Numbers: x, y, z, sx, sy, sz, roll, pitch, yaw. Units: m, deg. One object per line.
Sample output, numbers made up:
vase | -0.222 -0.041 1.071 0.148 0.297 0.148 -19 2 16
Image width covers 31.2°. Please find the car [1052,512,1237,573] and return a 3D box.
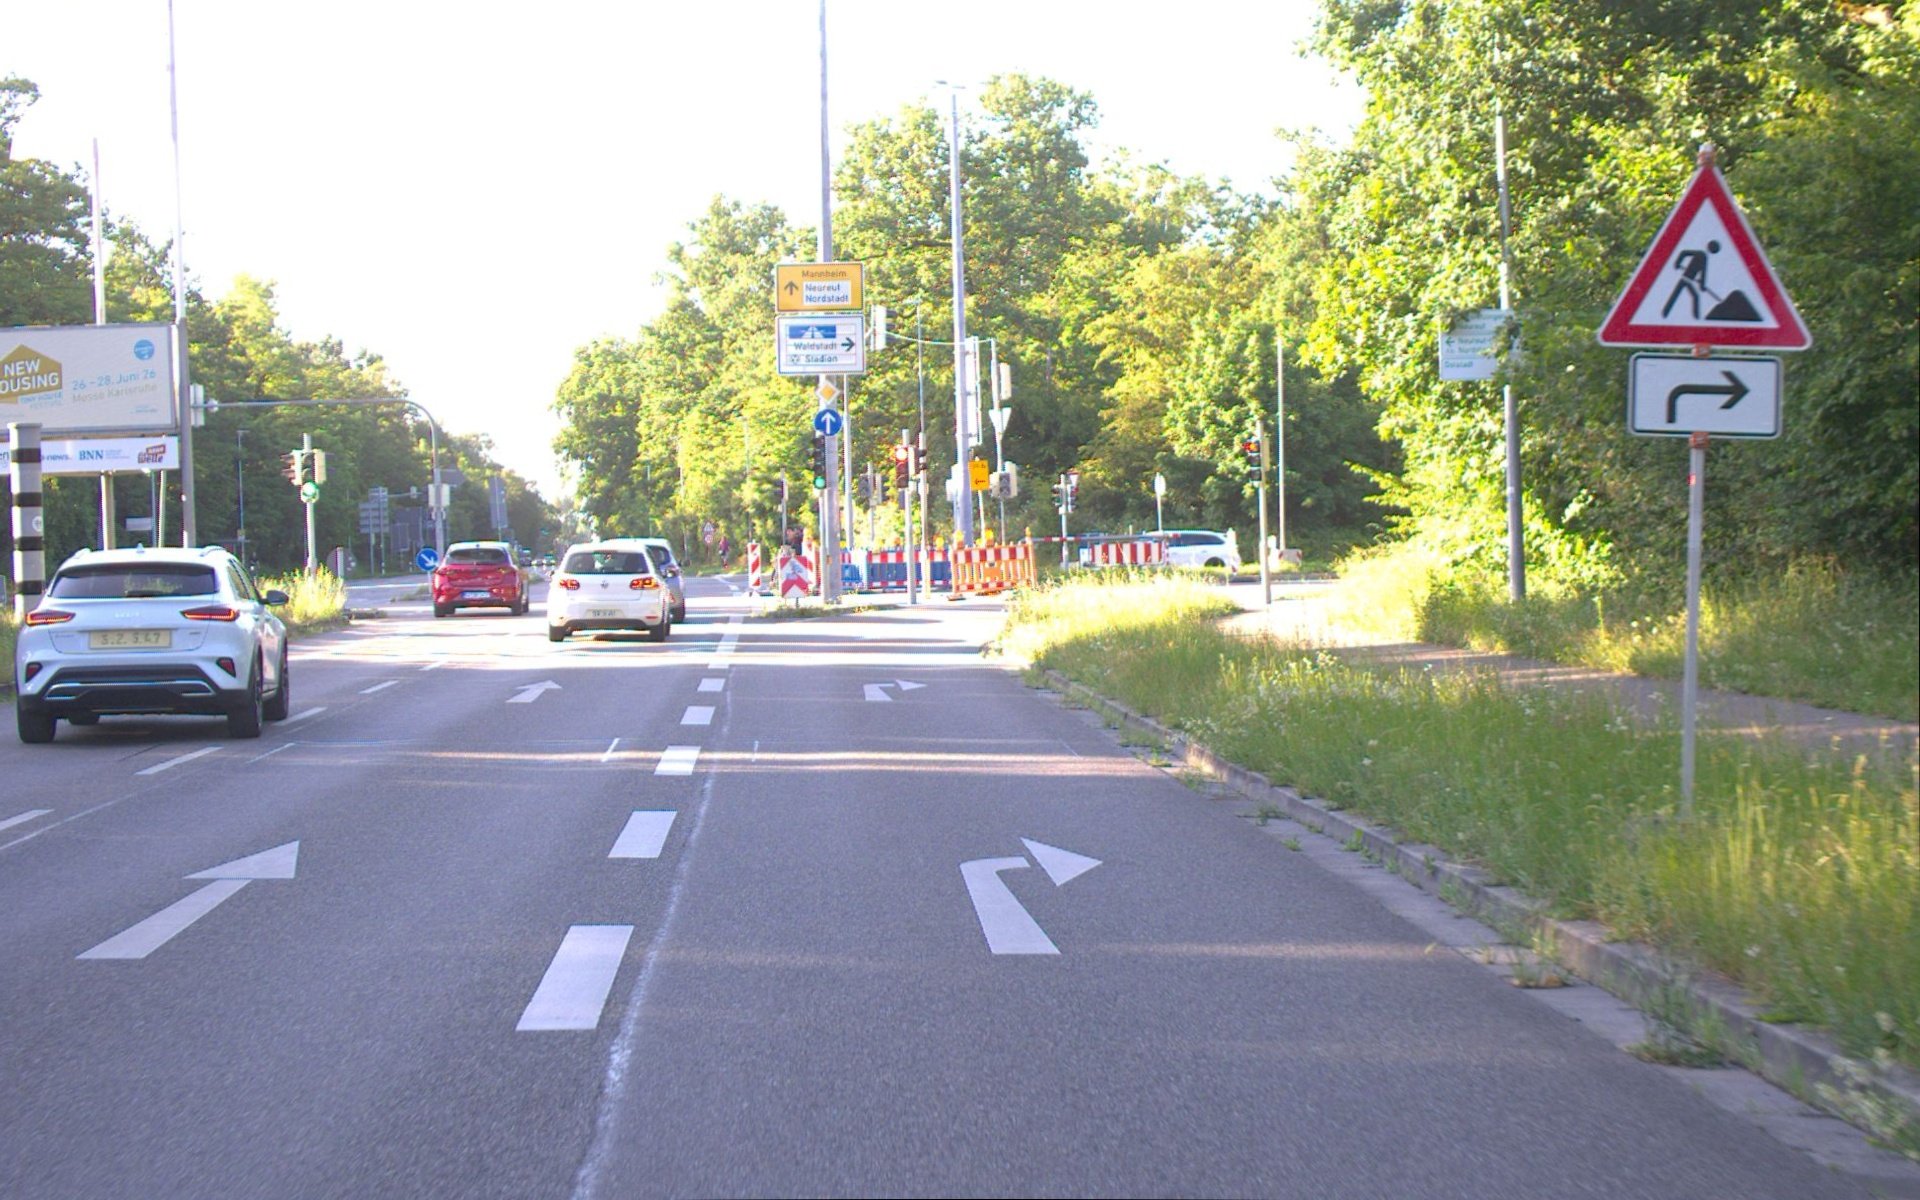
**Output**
car | 5.222 -1.624 97.146 4.817 1.575 2.000 -2 1 -25

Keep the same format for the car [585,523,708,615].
car | -5.671 -0.569 61.791 1.993 1.531 4.001 -2 1 -7

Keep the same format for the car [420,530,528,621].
car | -9.589 -0.507 67.958 1.993 1.679 4.001 -2 1 -7

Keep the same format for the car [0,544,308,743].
car | -6.422 0.290 27.517 1.863 1.439 4.001 -1 1 -4

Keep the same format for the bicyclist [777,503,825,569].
bicyclist | -4.645 -1.869 100.249 1.013 1.923 0.968 -1 1 -35

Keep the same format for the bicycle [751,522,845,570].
bicycle | -4.709 -1.573 100.198 2.632 1.378 0.968 -1 1 -35

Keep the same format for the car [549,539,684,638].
car | -5.268 -0.206 53.119 1.940 1.409 4.001 -2 1 -4
